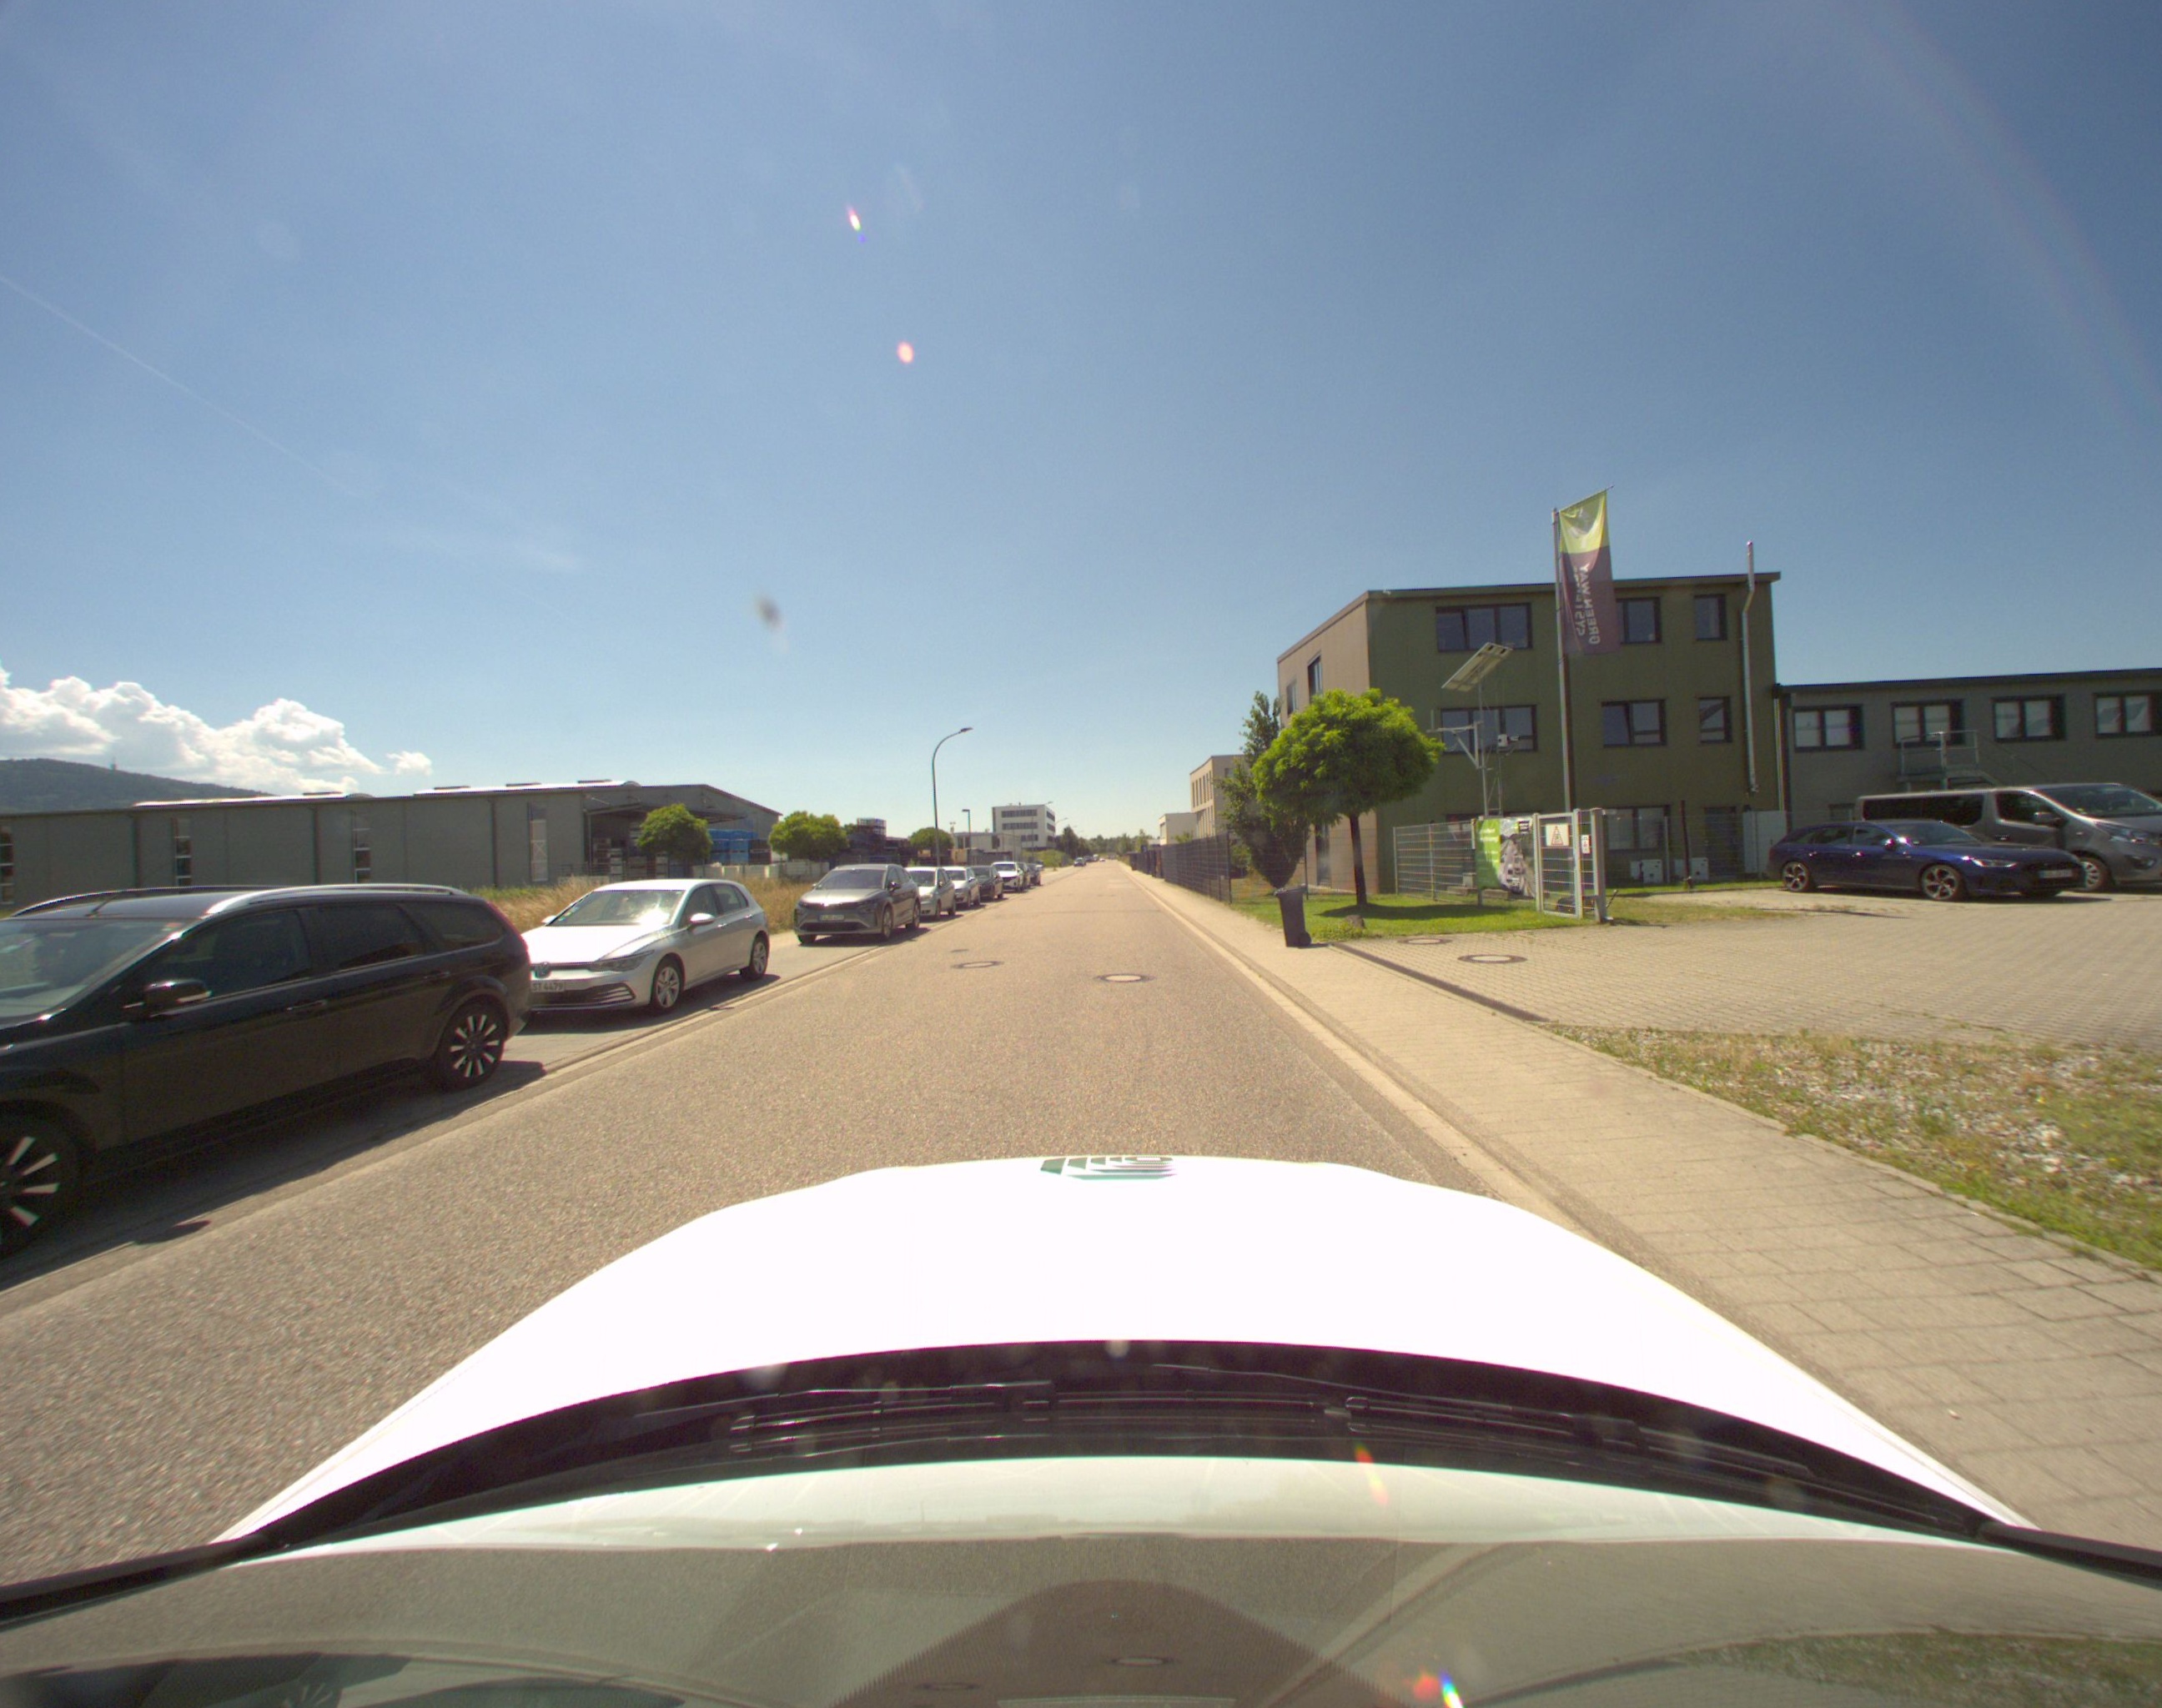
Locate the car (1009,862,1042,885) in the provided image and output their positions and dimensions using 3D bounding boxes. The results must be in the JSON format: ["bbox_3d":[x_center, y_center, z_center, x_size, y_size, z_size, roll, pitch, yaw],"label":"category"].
[{"bbox_3d":[-3.670,1.270,54.525,1.762,1.461,4.335,-1,0,2],"label":"car"}]

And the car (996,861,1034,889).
[{"bbox_3d":[-3.913,1.249,48.912,1.763,1.556,4.502,-1,0,1],"label":"car"}]

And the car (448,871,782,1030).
[{"bbox_3d":[-5.357,0.986,10.129,1.758,1.451,4.198,-1,0,-1],"label":"car"}]

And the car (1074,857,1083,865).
[{"bbox_3d":[-0.499,1.248,149.312,1.461,1.489,3.209,-2,0,2],"label":"car"}]

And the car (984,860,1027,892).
[{"bbox_3d":[-3.972,1.137,43.523,1.763,1.592,4.360,-1,0,1],"label":"car"}]

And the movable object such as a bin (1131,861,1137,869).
[{"bbox_3d":[6.600,1.347,101.151,0.549,0.928,0.523,-7,1,6],"label":"movable object such as a bin"}]

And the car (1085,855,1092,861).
[{"bbox_3d":[1.872,1.084,204.278,1.638,1.489,3.209,-2,0,2],"label":"car"}]

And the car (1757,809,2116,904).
[{"bbox_3d":[15.596,0.019,15.329,1.986,1.438,4.614,-2,0,2],"label":"car"}]

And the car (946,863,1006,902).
[{"bbox_3d":[-4.387,1.175,34.656,1.850,1.481,4.231,-1,0,2],"label":"car"}]

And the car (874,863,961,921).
[{"bbox_3d":[-4.731,1.053,24.055,1.688,1.525,3.736,-1,0,1],"label":"car"}]

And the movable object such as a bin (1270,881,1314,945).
[{"bbox_3d":[3.318,0.923,12.835,0.548,0.928,0.523,-6,-1,11],"label":"movable object such as a bin"}]

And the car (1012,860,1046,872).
[{"bbox_3d":[-6.938,1.632,108.199,4.261,1.364,1.899,-3,0,2],"label":"car"}]

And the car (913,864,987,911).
[{"bbox_3d":[-4.650,1.151,29.556,1.769,1.481,4.816,-1,0,1],"label":"car"}]

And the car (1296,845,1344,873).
[{"bbox_3d":[13.772,0.293,47.139,1.649,1.444,4.001,-3,0,2],"label":"car"}]

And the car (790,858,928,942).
[{"bbox_3d":[-4.820,0.928,18.364,1.784,1.607,4.463,-1,0,1],"label":"car"}]

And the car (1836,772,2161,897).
[{"bbox_3d":[18.295,-0.381,15.894,1.986,1.996,5.658,-2,0,2],"label":"car"}]

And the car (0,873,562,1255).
[{"bbox_3d":[-5.367,0.936,4.750,1.756,1.517,4.381,-1,0,1],"label":"car"}]
